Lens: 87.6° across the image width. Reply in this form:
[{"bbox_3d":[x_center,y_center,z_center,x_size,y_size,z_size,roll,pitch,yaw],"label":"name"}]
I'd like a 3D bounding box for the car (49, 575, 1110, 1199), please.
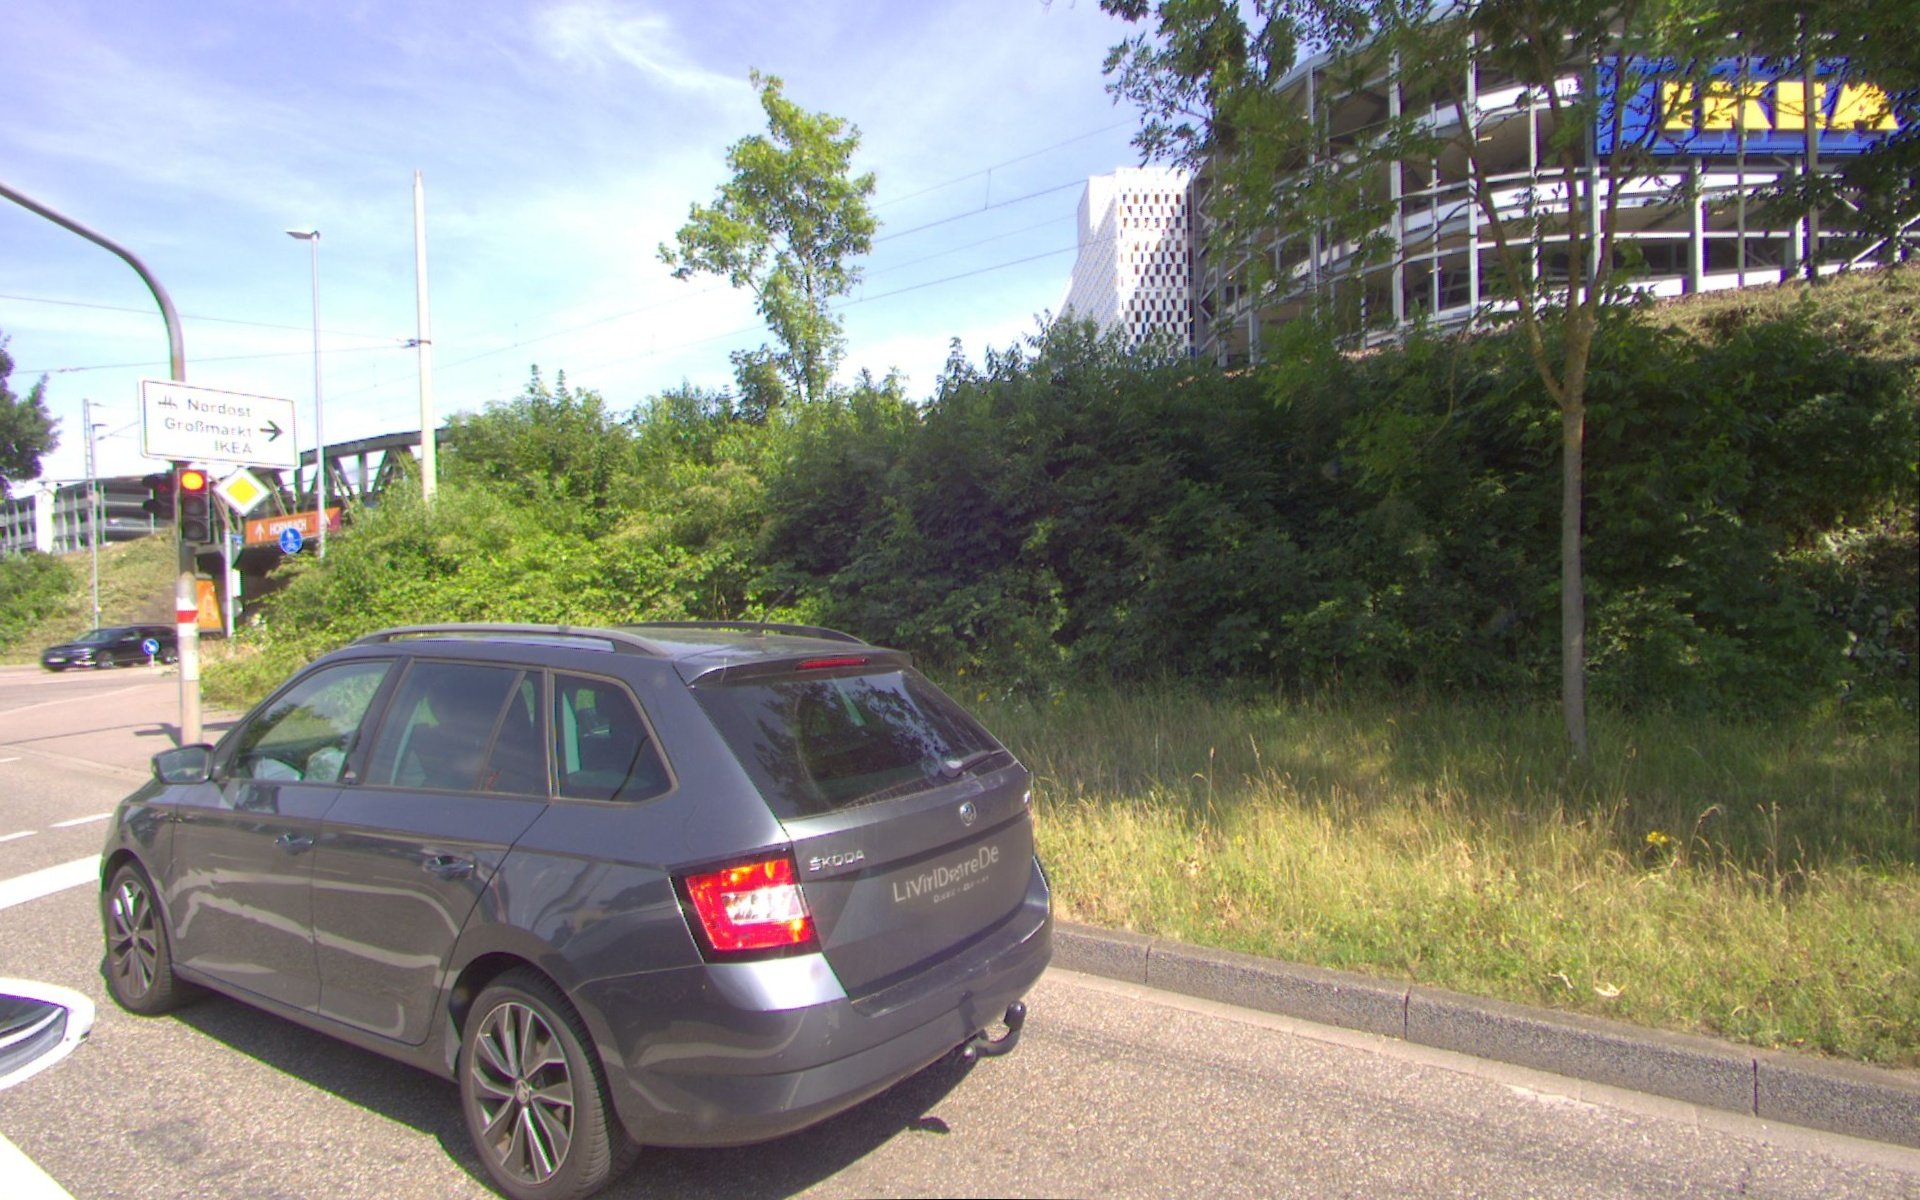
[{"bbox_3d":[-1.607,0.741,3.757,3.978,1.472,1.671,-1,-2,32],"label":"car"}]

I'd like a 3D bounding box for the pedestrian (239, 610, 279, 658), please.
[{"bbox_3d":[-24.356,1.188,34.794,0.766,1.633,0.866,-1,0,32],"label":"pedestrian"}]

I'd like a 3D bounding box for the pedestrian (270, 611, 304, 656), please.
[{"bbox_3d":[-23.917,1.185,35.583,0.766,1.600,0.728,-1,0,32],"label":"pedestrian"}]

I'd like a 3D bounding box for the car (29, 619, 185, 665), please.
[{"bbox_3d":[-30.010,1.447,35.417,1.755,1.462,4.222,-1,0,2],"label":"car"}]
